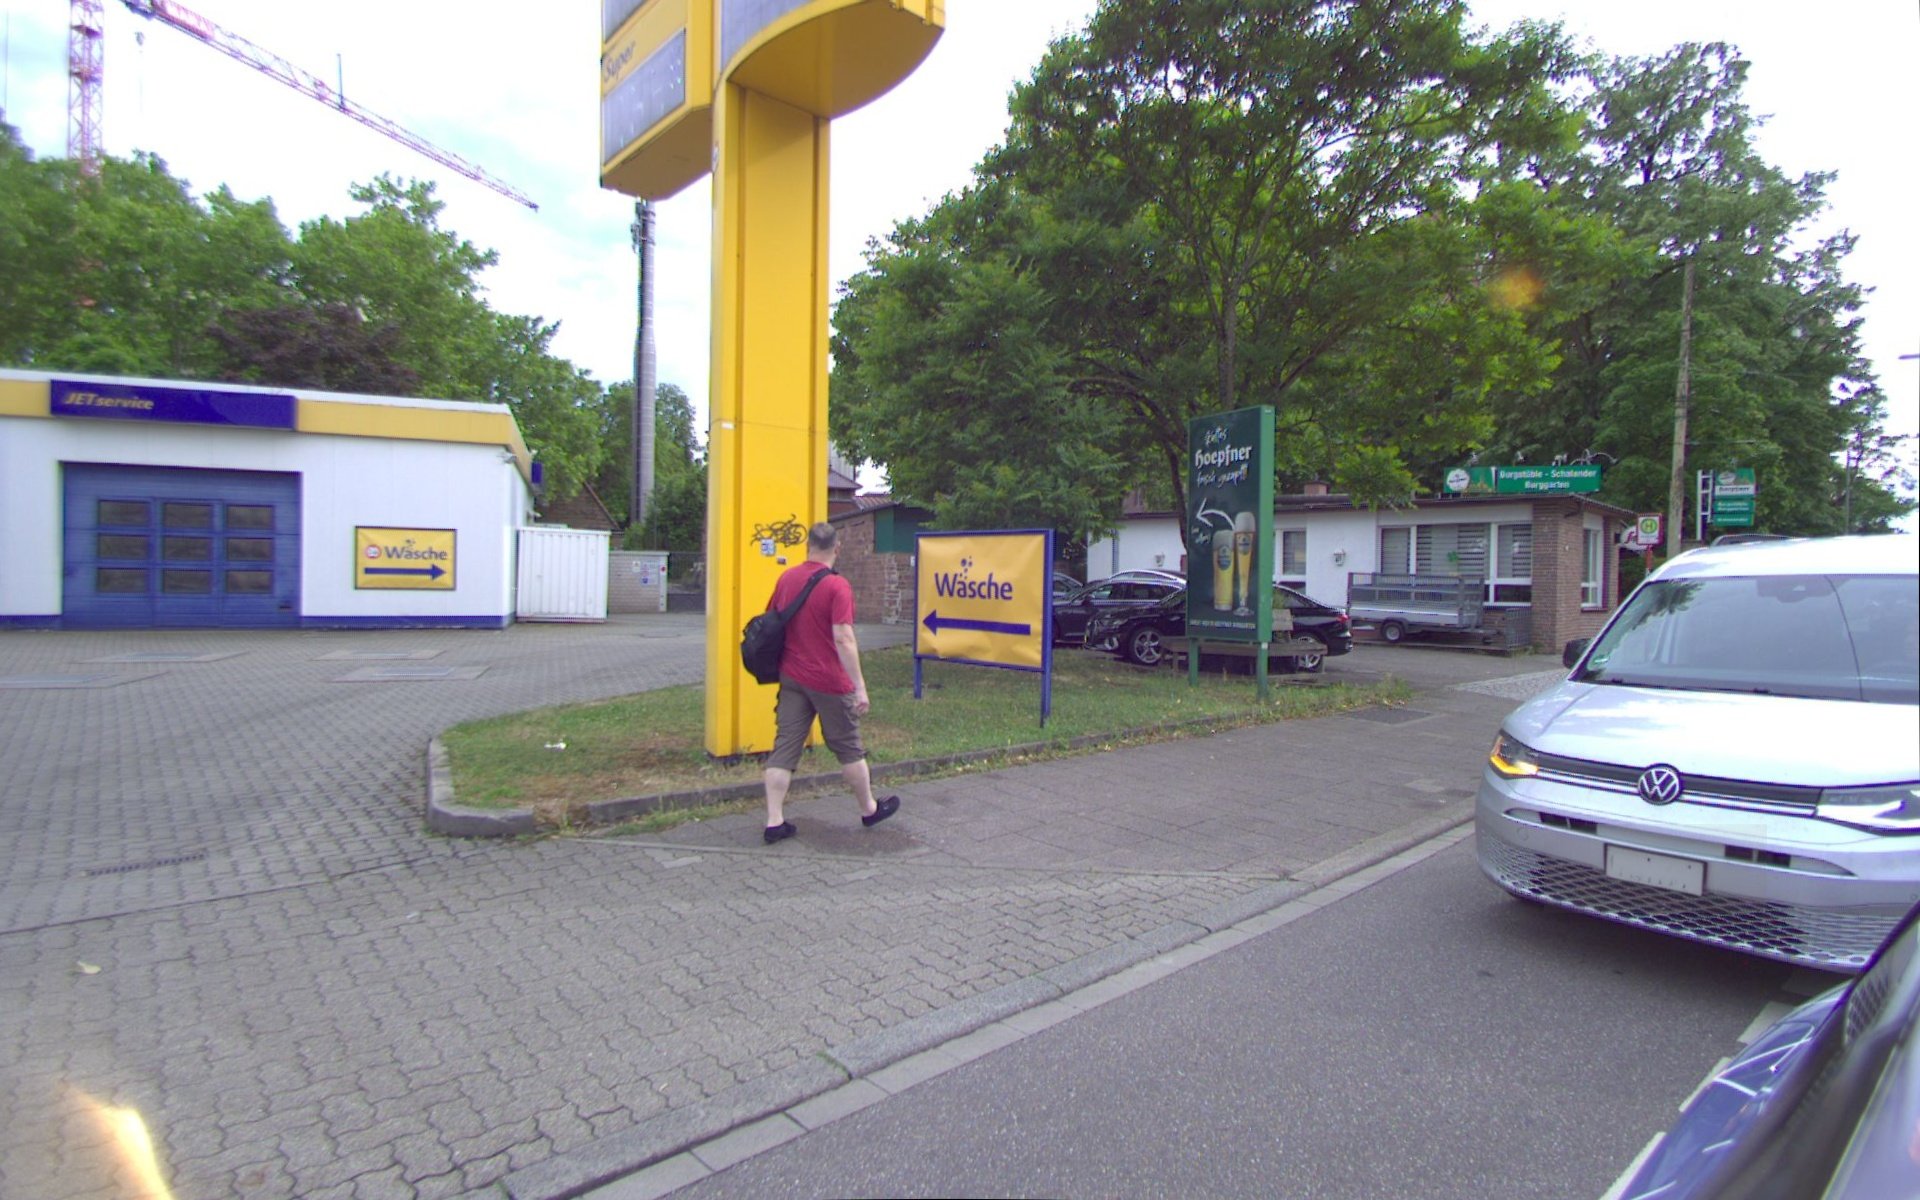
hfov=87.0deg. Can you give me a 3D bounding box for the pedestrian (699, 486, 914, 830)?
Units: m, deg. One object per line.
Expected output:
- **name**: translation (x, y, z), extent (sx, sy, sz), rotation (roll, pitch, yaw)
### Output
- **pedestrian**: translation (-0.833, 0.276, 5.720), extent (0.959, 1.759, 0.859), rotation (2, 2, 9)

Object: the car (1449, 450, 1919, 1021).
- **car**: translation (4.706, 0.430, 5.151), extent (4.843, 1.830, 1.852), rotation (1, 1, -35)

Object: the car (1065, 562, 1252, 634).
- **car**: translation (4.908, -0.091, 25.573), extent (1.955, 1.667, 4.434), rotation (0, 1, -39)

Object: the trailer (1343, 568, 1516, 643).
- **trailer**: translation (10.439, 0.074, 22.618), extent (1.594, 1.558, 3.165), rotation (-1, 2, -43)

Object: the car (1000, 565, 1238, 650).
- **car**: translation (3.151, 0.119, 20.674), extent (4.453, 1.444, 1.880), rotation (2, 3, -2)

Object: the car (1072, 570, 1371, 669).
- **car**: translation (4.297, 0.290, 17.167), extent (4.497, 1.425, 1.936), rotation (2, 1, 0)

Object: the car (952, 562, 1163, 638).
- **car**: translation (2.143, -0.023, 23.068), extent (4.401, 1.477, 1.988), rotation (2, 1, -6)
